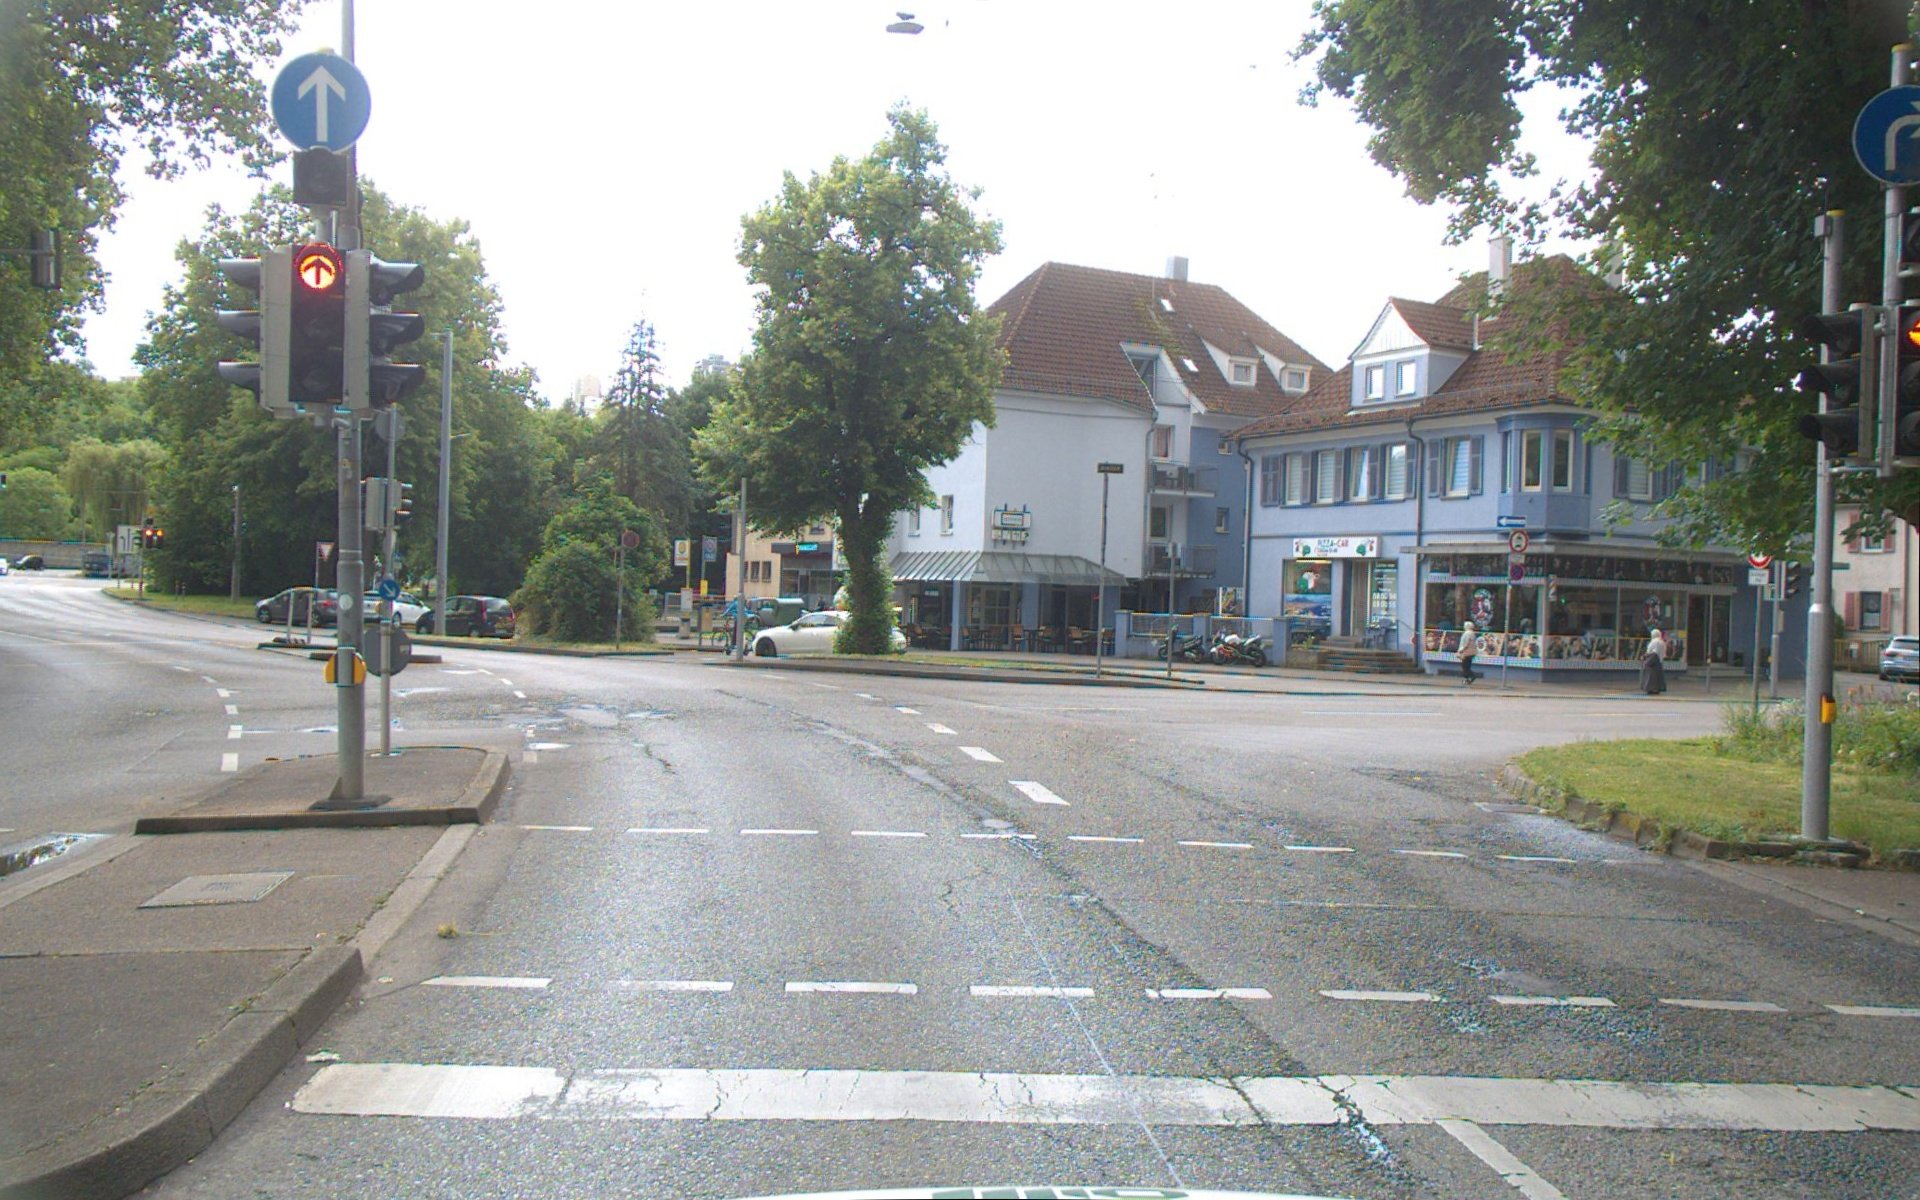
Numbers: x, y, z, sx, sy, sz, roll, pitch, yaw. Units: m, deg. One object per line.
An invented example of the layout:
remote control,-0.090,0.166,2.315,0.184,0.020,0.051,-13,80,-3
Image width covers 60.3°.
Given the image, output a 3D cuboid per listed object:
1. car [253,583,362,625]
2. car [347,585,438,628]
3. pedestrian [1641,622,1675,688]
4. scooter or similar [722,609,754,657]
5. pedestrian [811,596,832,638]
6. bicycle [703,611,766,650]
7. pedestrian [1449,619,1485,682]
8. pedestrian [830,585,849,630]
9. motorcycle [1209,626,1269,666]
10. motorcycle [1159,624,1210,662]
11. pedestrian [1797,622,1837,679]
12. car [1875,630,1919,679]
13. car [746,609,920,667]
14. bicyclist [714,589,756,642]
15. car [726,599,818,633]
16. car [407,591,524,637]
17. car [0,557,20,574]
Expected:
car,-25.007,0.154,63.417,3.695,1.491,1.622,1,0,18
car,-22.732,0.260,66.399,1.821,1.668,3.757,1,0,10
pedestrian,17.037,1.340,40.389,0.681,1.587,0.665,0,-1,30
scooter or similar,-5.701,0.831,42.503,0.433,1.195,1.439,1,0,8
pedestrian,-6.778,0.827,80.753,0.823,2.049,1.052,1,0,-15
bicycle,-7.254,0.970,53.169,1.911,1.169,0.874,1,0,32
pedestrian,13.059,1.293,42.578,0.717,1.587,0.767,0,-1,30
pedestrian,-4.309,0.272,59.070,0.531,1.587,0.468,0,-1,13
motorcycle,8.167,1.342,48.455,1.595,1.107,0.625,1,0,32
motorcycle,6.814,1.290,50.205,1.430,1.107,0.522,1,0,35
pedestrian,23.978,1.410,46.277,0.659,1.587,0.743,1,-1,-15
car,29.698,1.692,51.685,1.849,1.415,3.608,1,0,28
car,-3.532,1.023,45.678,4.618,1.435,1.896,1,0,35
bicyclist,-7.230,0.505,53.168,0.967,1.680,0.916,1,0,31
car,-8.581,0.736,75.475,3.880,1.467,1.742,1,0,-21
car,-15.914,0.449,53.258,3.252,1.376,1.778,1,0,27
car,-88.729,-3.219,153.644,2.970,1.442,1.492,0,-2,40
